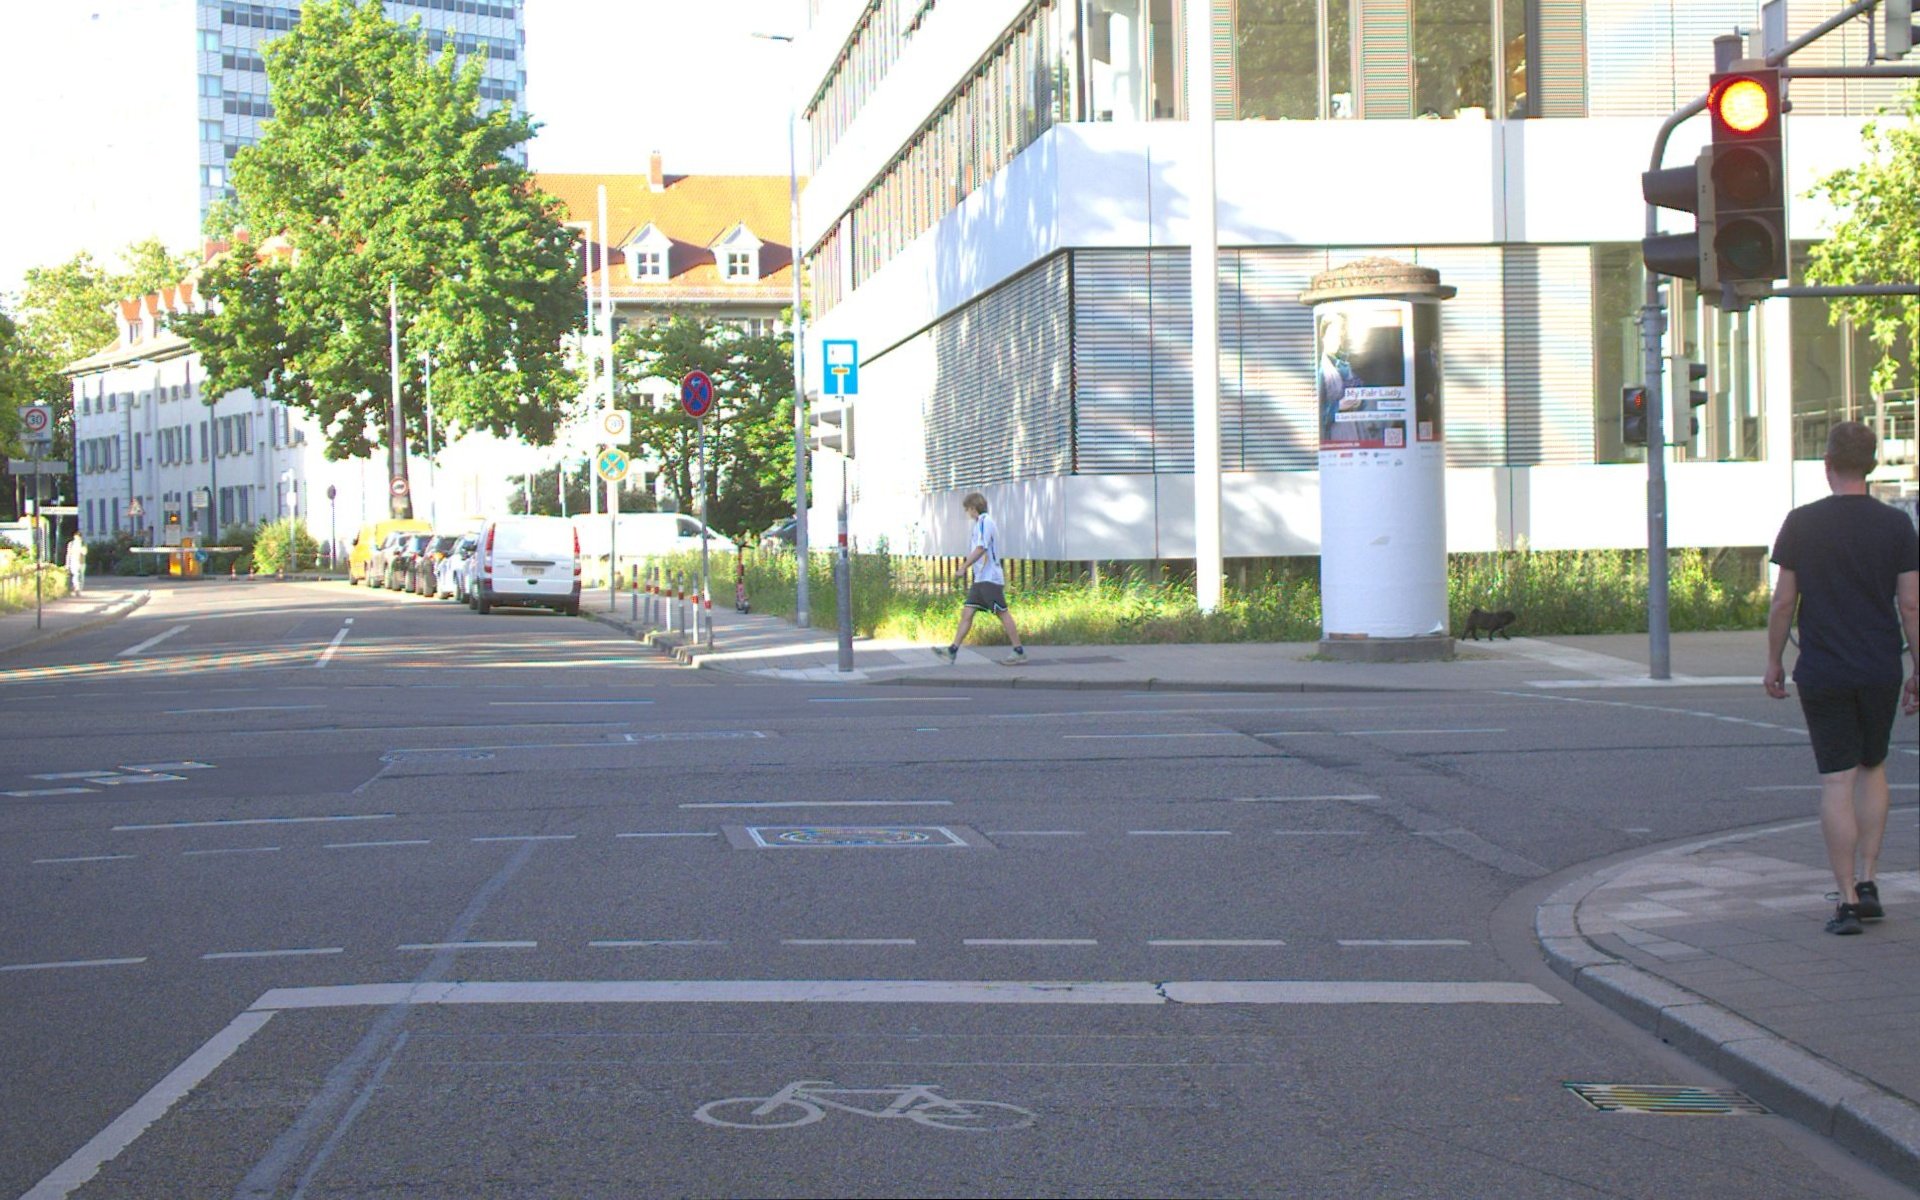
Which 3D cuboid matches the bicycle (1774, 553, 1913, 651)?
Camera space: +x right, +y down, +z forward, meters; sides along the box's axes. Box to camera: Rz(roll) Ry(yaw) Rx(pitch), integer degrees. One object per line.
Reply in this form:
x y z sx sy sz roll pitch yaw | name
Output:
9.281 0.011 36.156 0.378 1.005 1.432 -2 2 -42 | bicycle

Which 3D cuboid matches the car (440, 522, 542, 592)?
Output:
-10.511 -0.961 76.813 1.993 1.493 4.653 1 1 -11 | car

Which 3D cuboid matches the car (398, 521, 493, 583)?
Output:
-12.887 -1.194 85.984 1.993 1.493 4.653 1 1 -13 | car

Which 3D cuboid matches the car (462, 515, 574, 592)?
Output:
-9.177 -0.957 71.041 1.993 1.493 4.653 1 1 -11 | car

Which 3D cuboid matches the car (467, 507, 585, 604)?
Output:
-8.225 -0.837 64.828 1.993 1.719 4.653 1 1 -10 | car

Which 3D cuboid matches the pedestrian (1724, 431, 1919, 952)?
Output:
3.175 0.316 12.294 0.699 1.804 0.720 1 0 0 | pedestrian

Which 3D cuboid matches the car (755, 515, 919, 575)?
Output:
-3.764 -1.669 104.780 4.635 1.719 2.001 1 1 -16 | car

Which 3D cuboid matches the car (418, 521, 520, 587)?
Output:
-11.633 -1.088 81.260 1.993 1.493 4.288 1 1 -13 | car

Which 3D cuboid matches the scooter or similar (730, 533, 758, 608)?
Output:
-3.664 -0.509 58.298 0.437 1.252 1.420 -1 1 -4 | scooter or similar

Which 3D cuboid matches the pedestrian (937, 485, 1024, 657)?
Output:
0.223 -0.316 37.801 0.914 1.862 0.742 1 0 -1 | pedestrian

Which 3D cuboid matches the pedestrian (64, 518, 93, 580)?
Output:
-22.755 -1.313 88.758 0.699 1.581 0.637 1 0 -16 | pedestrian

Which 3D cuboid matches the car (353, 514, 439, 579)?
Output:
-15.747 -1.486 95.840 1.993 1.719 4.653 1 1 -14 | car

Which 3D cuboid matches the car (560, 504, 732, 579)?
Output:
-9.411 -1.741 102.936 4.791 2.151 2.001 1 0 -17 | car
